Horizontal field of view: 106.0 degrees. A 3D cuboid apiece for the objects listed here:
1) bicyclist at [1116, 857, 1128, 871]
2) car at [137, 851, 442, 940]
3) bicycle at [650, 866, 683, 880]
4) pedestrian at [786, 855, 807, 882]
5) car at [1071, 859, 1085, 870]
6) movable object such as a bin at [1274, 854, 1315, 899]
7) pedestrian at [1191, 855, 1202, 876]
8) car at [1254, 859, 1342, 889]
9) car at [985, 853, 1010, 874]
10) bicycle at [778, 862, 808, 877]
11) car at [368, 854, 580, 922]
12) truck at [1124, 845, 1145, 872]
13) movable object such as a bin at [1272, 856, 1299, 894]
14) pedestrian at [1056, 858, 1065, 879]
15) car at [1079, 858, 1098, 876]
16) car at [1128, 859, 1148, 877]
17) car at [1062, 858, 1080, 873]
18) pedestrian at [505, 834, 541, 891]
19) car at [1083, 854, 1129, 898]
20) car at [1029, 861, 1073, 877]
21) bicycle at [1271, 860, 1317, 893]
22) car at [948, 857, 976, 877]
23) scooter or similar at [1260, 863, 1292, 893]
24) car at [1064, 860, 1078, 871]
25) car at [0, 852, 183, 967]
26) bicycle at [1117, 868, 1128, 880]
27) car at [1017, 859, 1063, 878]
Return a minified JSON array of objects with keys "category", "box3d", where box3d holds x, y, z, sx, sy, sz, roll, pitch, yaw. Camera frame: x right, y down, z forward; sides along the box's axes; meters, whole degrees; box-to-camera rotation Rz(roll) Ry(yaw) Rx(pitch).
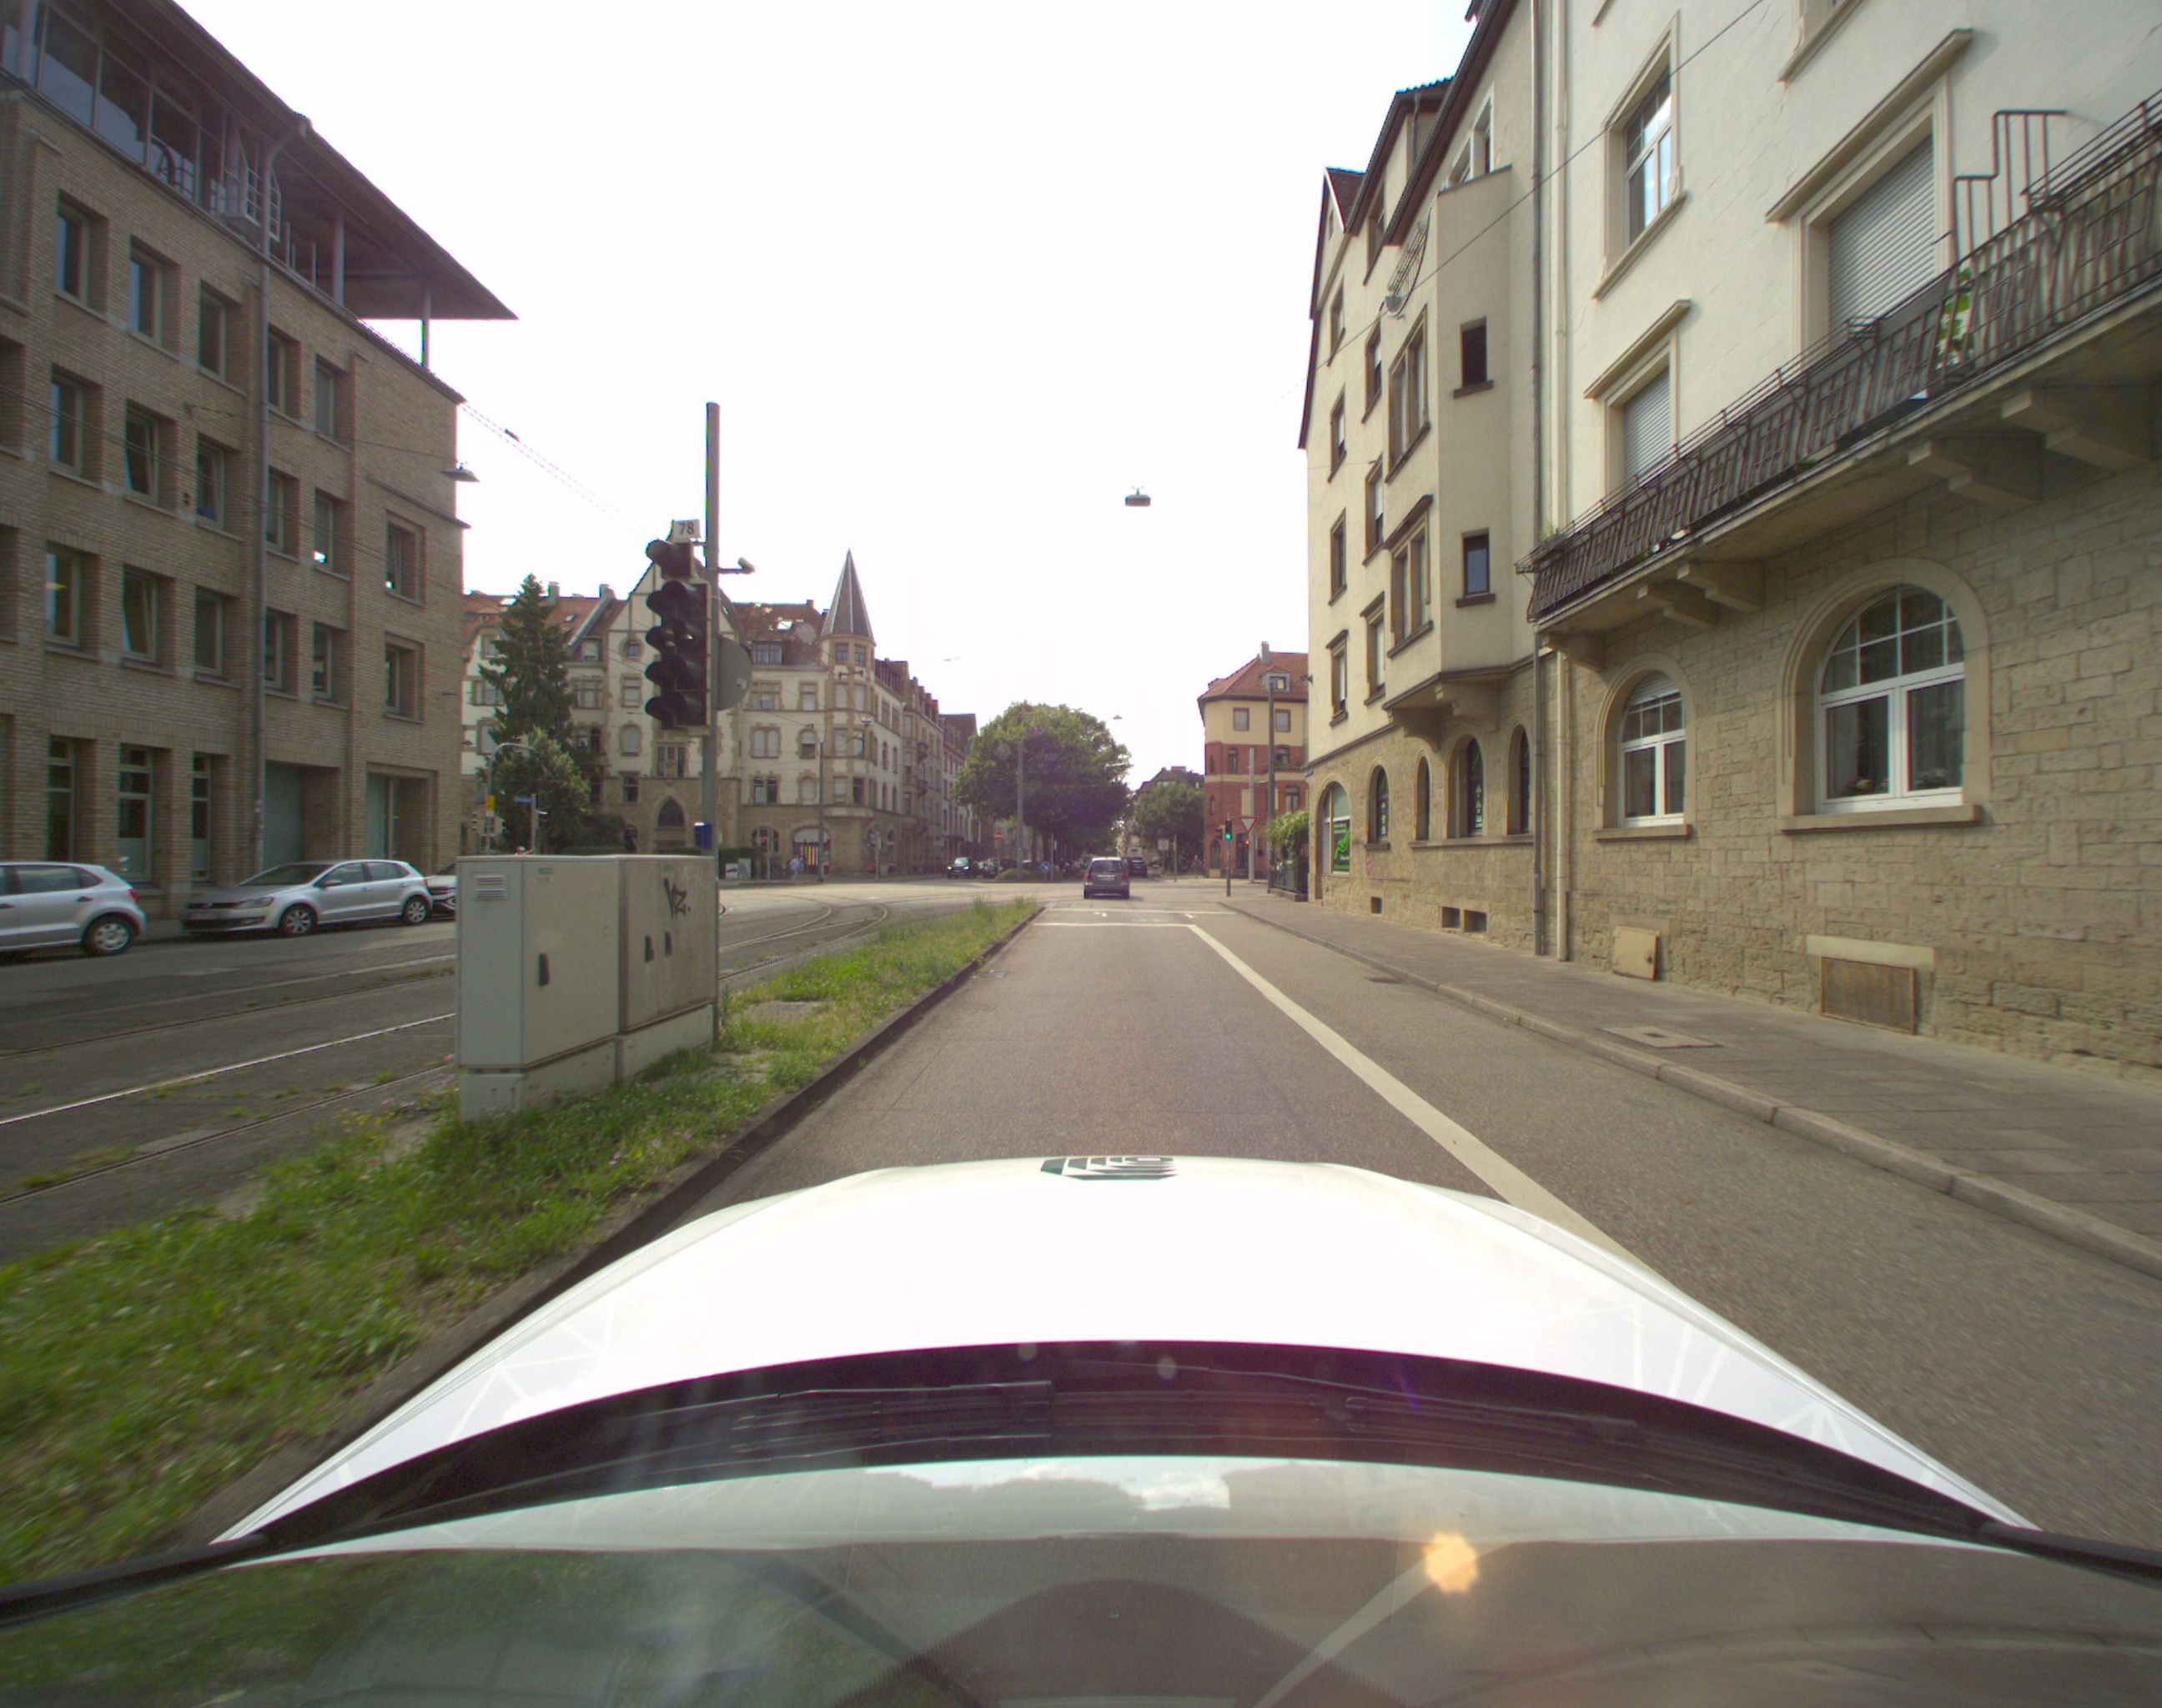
[{"category":"bicyclist","box3d":[3.303,0.774,65.512,0.832,1.082,1.402,-1,-1,6]},{"category":"car","box3d":[-15.192,0.724,16.008,1.925,1.531,4.017,0,0,3]},{"category":"bicycle","box3d":[-27.648,1.267,54.289,1.915,0.848,0.469,0,-1,-9]},{"category":"pedestrian","box3d":[-18.012,0.899,51.513,1.029,1.722,0.767,1,-1,-42]},{"category":"car","box3d":[-0.416,1.506,114.170,1.745,1.517,3.501,0,0,3]},{"category":"movable object such as a bin","box3d":[7.719,0.800,29.553,1.045,1.539,2.102,-1,-1,4]},{"category":"pedestrian","box3d":[9.104,0.886,64.304,0.864,1.657,0.737,0,-1,6]},{"category":"car","box3d":[11.073,0.983,41.536,4.007,1.442,1.970,0,0,-25]},{"category":"car","box3d":[-7.202,0.838,70.533,1.989,1.728,3.995,0,-1,-3]},{"category":"bicycle","box3d":[-21.128,1.135,59.736,1.915,1.081,0.776,0,-1,-9]},{"category":"car","box3d":[-14.922,0.772,20.383,1.925,1.535,4.261,0,0,3]},{"category":"truck","box3d":[5.942,0.491,89.668,2.112,2.970,4.006,-1,-1,6]},{"category":"movable object such as a bin","box3d":[8.059,0.817,32.081,0.714,1.472,0.980,0,-1,-7]},{"category":"pedestrian","box3d":[-1.649,1.187,66.765,0.648,1.725,0.495,0,-1,5]},{"category":"car","box3d":[0.737,1.288,79.436,1.715,1.706,3.680,-1,-1,3]},{"category":"car","box3d":[5.350,1.265,76.722,1.743,1.633,3.505,0,0,6]},{"category":"car","box3d":[-1.130,1.323,93.145,1.745,1.633,3.501,0,0,3]},{"category":"pedestrian","box3d":[-18.025,0.267,26.339,0.763,1.795,0.953,1,-1,-23]},{"category":"car","box3d":[1.027,0.837,32.090,1.715,1.605,3.680,-1,-1,3]},{"category":"car","box3d":[-2.657,1.291,71.676,1.984,1.339,3.955,1,0,-37]},{"category":"bicycle","box3d":[8.591,0.901,32.876,1.827,1.329,0.276,0,-1,-9]},{"category":"car","box3d":[-10.075,1.081,69.003,1.989,1.618,3.995,0,-1,-3]},{"category":"scooter or similar","box3d":[7.968,0.978,33.243,1.192,1.217,0.462,0,-1,-5]},{"category":"car","box3d":[-1.302,1.498,107.145,1.745,1.517,3.501,0,0,3]},{"category":"car","box3d":[-15.215,0.732,10.785,1.843,1.531,4.213,0,0,3]},{"category":"bicycle","box3d":[3.329,1.587,65.587,0.745,0.958,2.302,-1,-1,6]},{"category":"car","box3d":[-3.527,1.202,69.082,1.984,1.495,3.955,1,-1,-37]}]
